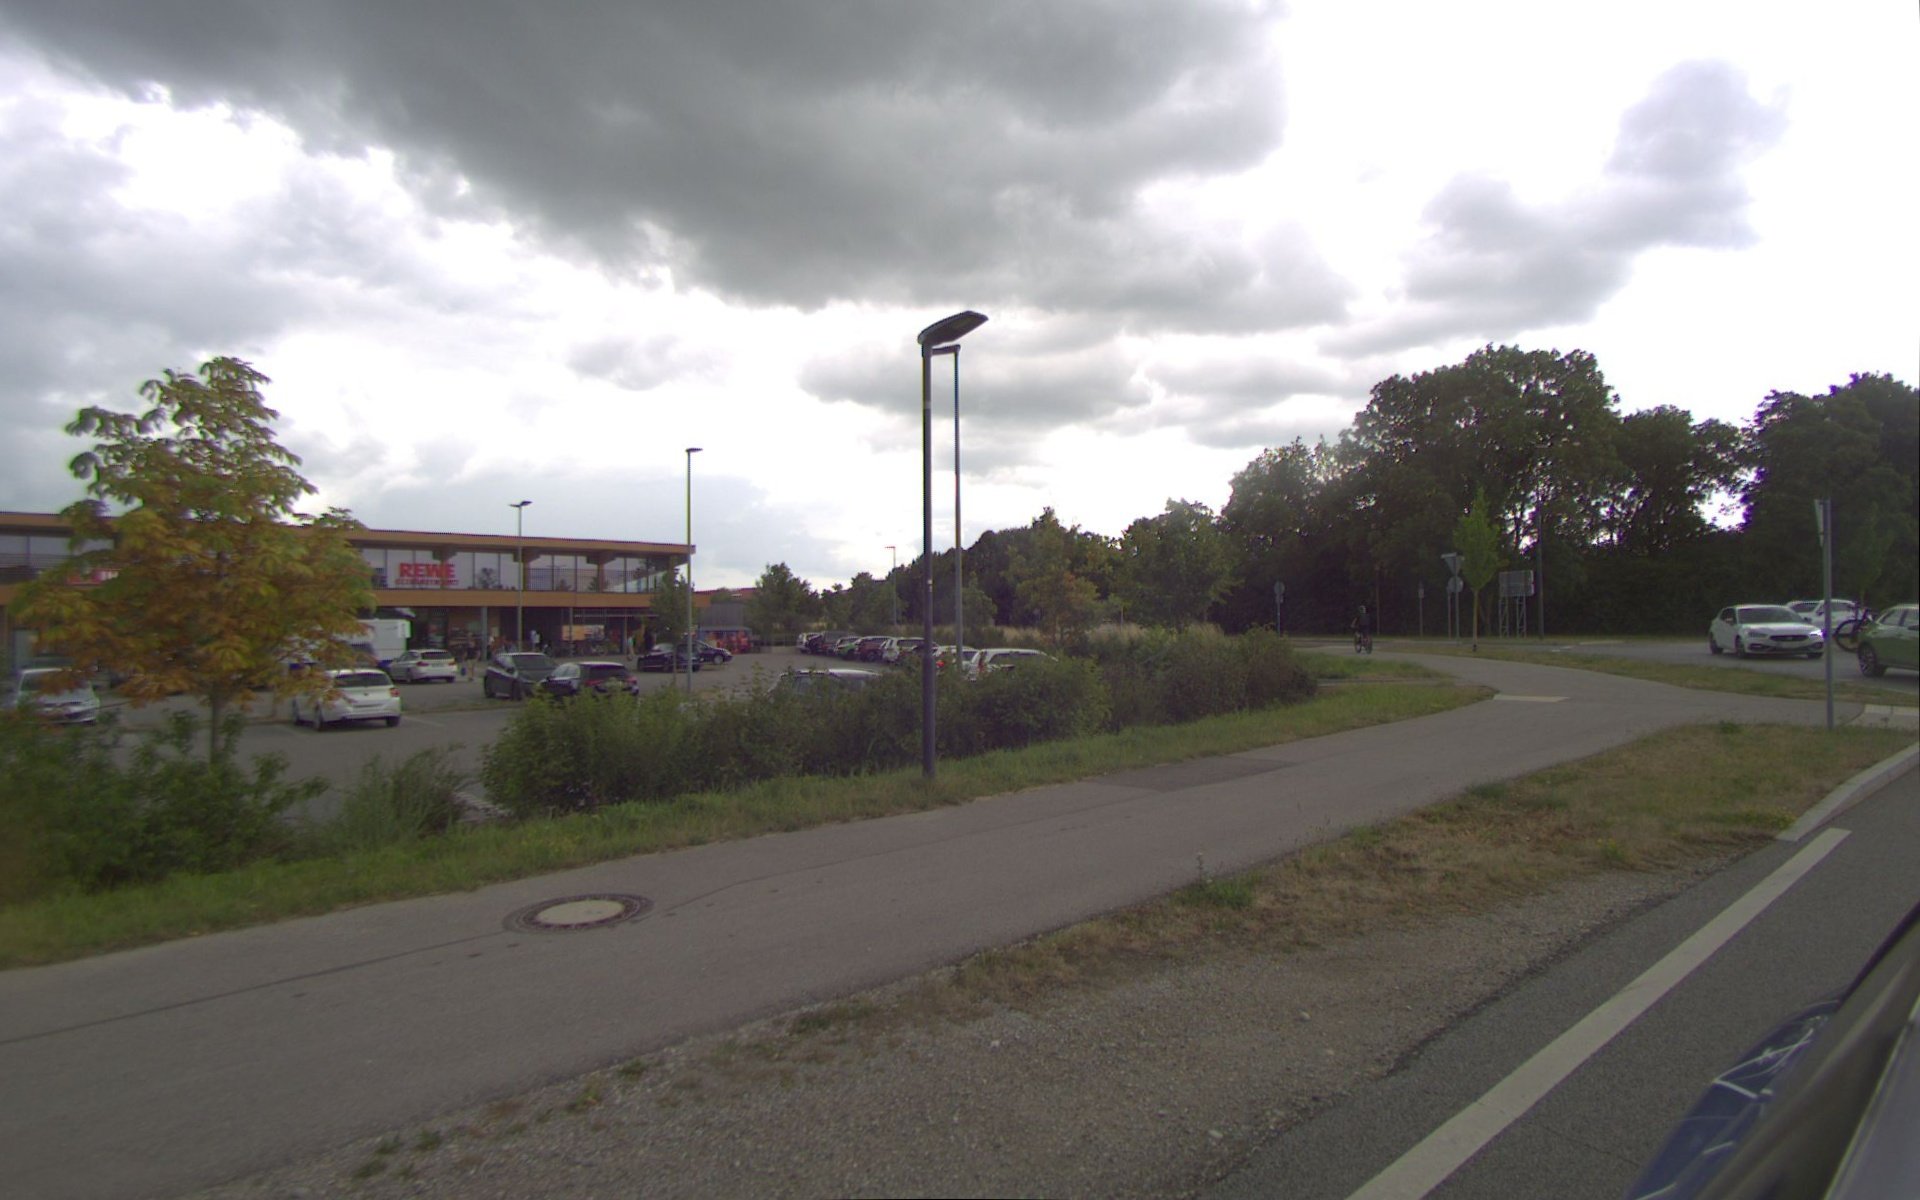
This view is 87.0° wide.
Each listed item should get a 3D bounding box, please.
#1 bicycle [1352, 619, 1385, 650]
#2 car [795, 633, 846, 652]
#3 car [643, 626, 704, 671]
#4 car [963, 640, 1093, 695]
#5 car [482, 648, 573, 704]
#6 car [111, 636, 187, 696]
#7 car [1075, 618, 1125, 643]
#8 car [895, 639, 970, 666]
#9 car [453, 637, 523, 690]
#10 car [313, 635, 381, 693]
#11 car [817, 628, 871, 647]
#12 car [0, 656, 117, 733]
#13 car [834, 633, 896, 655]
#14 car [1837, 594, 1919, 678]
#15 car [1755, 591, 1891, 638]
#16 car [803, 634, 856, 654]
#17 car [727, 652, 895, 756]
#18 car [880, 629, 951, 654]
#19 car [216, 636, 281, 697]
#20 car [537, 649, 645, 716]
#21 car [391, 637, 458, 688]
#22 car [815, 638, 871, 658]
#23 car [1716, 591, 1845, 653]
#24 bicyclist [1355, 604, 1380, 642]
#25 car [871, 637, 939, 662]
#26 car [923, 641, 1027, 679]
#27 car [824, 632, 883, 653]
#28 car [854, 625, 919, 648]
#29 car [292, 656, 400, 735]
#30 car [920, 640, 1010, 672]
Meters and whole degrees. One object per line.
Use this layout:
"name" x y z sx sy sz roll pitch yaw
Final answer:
"bicycle" 13.749 1.152 34.100 0.557 0.974 1.301 0 0 0
"car" -11.344 3.427 82.065 3.916 1.377 1.705 0 0 -13
"car" -14.518 2.394 51.135 1.961 2.039 4.003 0 0 -32
"car" 2.344 2.310 35.181 4.154 1.738 1.705 0 0 -13
"car" -14.511 2.472 33.838 1.962 1.504 4.131 0 0 -36
"car" -29.905 2.385 37.421 1.962 2.040 3.998 0 -3 -36
"car" 11.064 2.362 80.150 1.959 1.794 4.080 0 0 -27
"car" -1.533 2.897 56.325 3.916 1.377 1.705 0 0 -13
"car" -20.181 2.647 43.206 1.962 1.894 4.273 0 0 -36
"car" -24.742 2.511 40.783 2.032 2.039 3.999 0 0 -36
"car" -8.759 2.809 76.288 3.916 1.377 1.705 0 0 -13
"car" -23.711 2.398 26.676 1.962 1.571 4.131 0 0 -36
"car" -6.413 2.924 68.028 3.916 1.377 1.705 0 0 -13
"car" 19.694 0.688 19.895 1.847 1.608 5.032 -1 -1 18
"car" 32.720 0.521 38.392 3.916 1.705 2.004 0 0 -14
"car" -10.181 3.411 78.747 3.916 1.377 1.705 0 0 -13
"car" -3.244 2.094 21.450 1.629 1.727 3.993 0 0 -41
"car" -2.656 2.399 59.527 3.916 1.377 1.705 0 0 -13
"car" -27.751 2.533 39.478 1.962 2.039 3.999 0 0 -36
"car" -10.499 2.296 28.676 1.771 1.728 3.385 0 -3 -41
"car" -22.983 2.605 43.385 2.032 1.871 3.999 0 0 -36
"car" -8.508 3.482 73.545 3.916 1.377 1.705 0 0 -13
"car" 22.644 0.581 28.105 1.853 1.561 4.161 -2 -1 26
"bicyclist" 13.738 0.760 34.126 0.545 1.259 0.659 0 0 0
"car" -3.423 3.048 62.645 3.916 1.377 1.705 0 0 -13
"car" 0.587 2.424 41.258 3.916 1.377 1.848 0 0 -13
"car" -7.474 2.955 71.016 3.916 1.377 1.705 0 0 -13
"car" -4.755 2.334 65.091 3.916 1.377 1.705 0 0 -13
"car" -15.352 2.307 25.236 1.723 1.552 3.554 0 0 -41
"car" 0.212 2.589 47.254 3.916 1.377 1.705 0 0 -13
